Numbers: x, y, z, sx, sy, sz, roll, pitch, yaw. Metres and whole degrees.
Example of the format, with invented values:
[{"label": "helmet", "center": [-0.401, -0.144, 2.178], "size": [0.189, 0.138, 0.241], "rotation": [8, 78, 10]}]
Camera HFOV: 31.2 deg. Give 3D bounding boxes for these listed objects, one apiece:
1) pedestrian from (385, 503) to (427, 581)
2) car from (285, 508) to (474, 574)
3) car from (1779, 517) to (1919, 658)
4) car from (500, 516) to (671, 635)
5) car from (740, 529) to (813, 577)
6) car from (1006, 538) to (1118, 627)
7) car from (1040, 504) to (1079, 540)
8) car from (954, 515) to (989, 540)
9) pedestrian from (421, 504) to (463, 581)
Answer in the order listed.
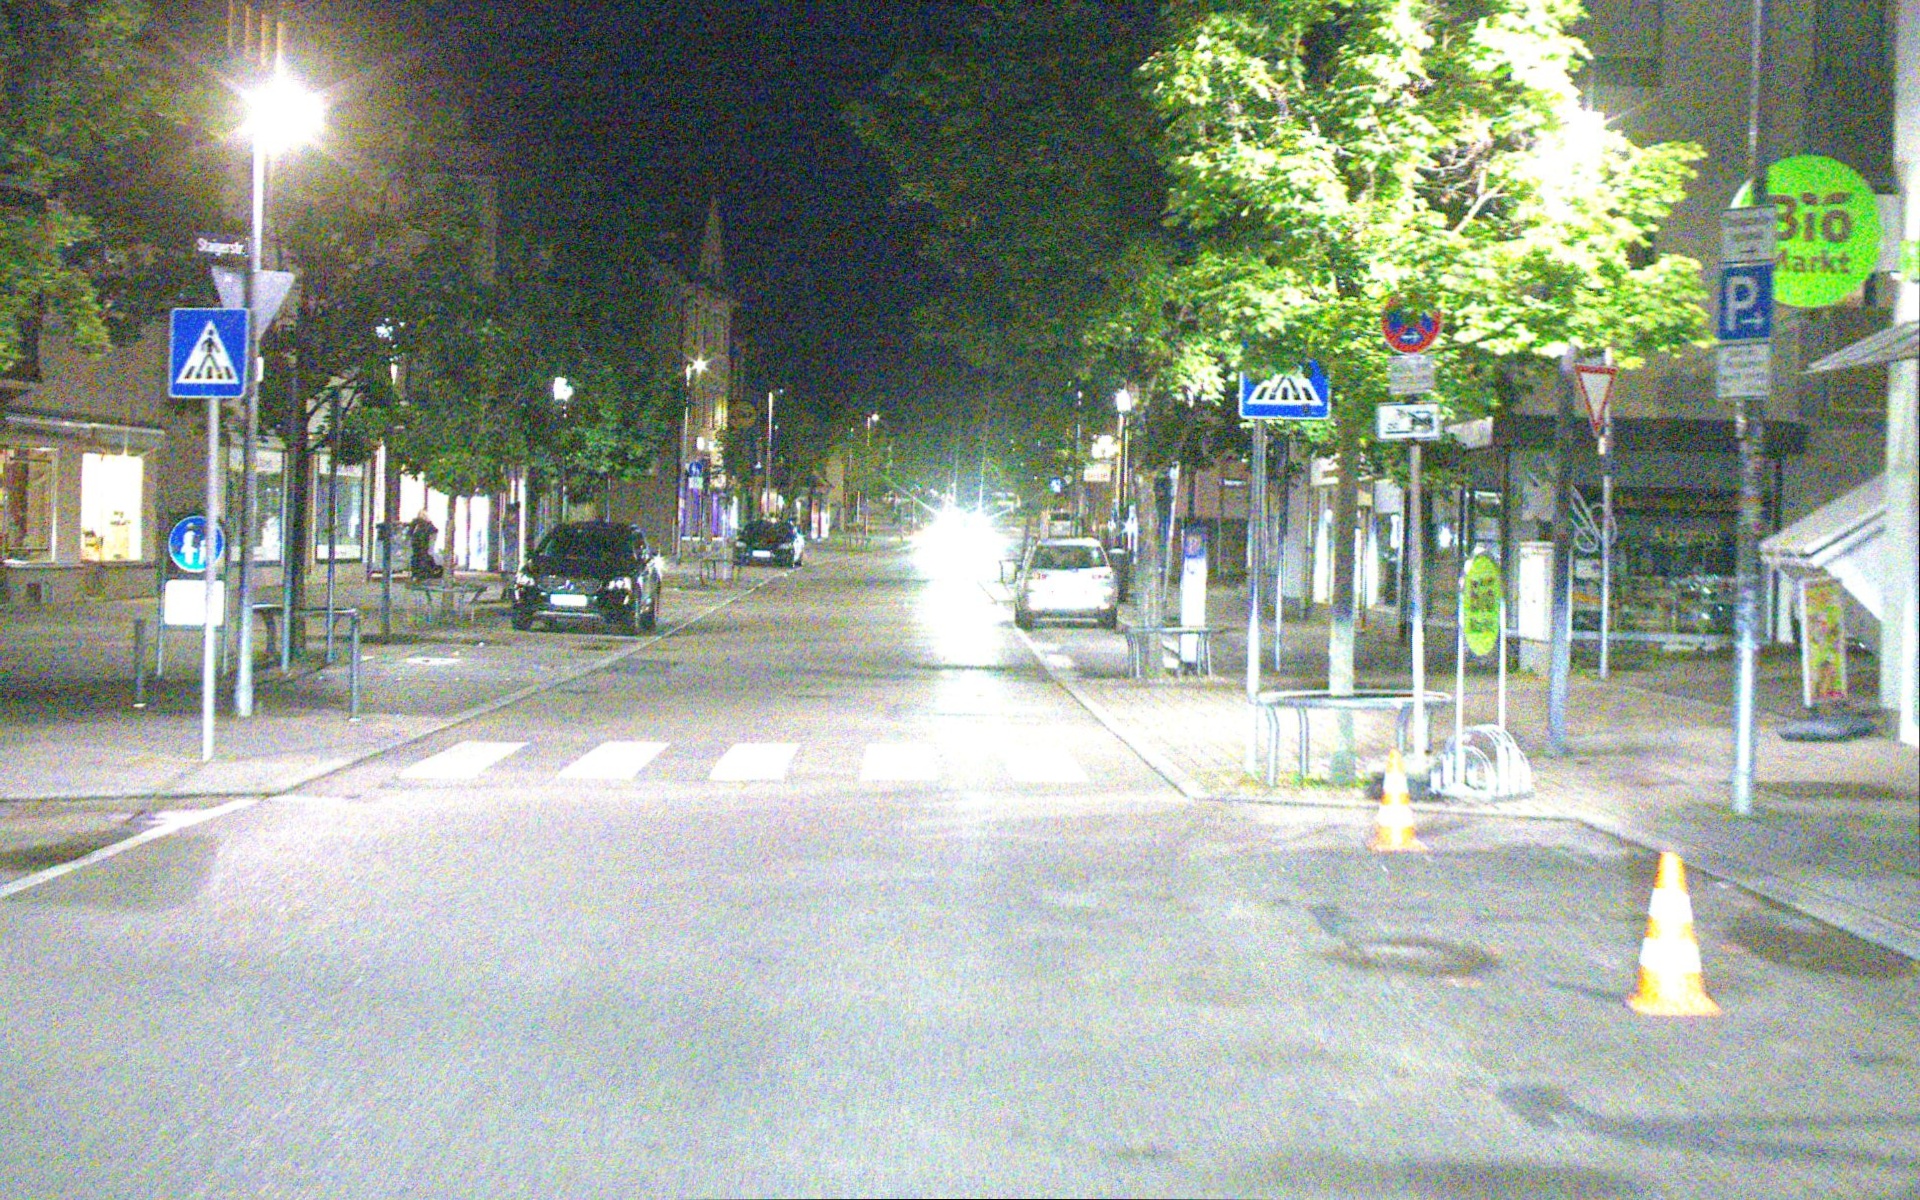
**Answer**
[{"label": "pedestrian", "center": [-12.050, -1.271, 74.787], "size": [0.769, 1.650, 0.817], "rotation": [1, 3, 1]}, {"label": "car", "center": [-14.126, -1.441, 83.788], "size": [4.167, 1.433, 1.841], "rotation": [-2, 1, 4]}, {"label": "car", "center": [10.549, -0.171, 38.100], "size": [1.804, 1.455, 4.057], "rotation": [-3, 0, -2]}, {"label": "car", "center": [-5.774, -0.421, 53.572], "size": [2.018, 1.685, 5.003], "rotation": [3, 1, 0]}, {"label": "car", "center": [-5.712, -1.476, 107.469], "size": [1.914, 1.366, 4.457], "rotation": [1, 2, 2]}, {"label": "car", "center": [1.729, -0.321, 59.169], "size": [1.674, 1.454, 3.676], "rotation": [1, 1, -2]}, {"label": "car", "center": [4.655, -3.657, 160.993], "size": [1.775, 1.646, 4.364], "rotation": [1, 2, 1]}, {"label": "car", "center": [0.629, -3.840, 181.917], "size": [1.723, 1.242, 4.237], "rotation": [1, 1, 1]}, {"label": "pedestrian", "center": [-11.264, -1.256, 74.765], "size": [0.769, 1.650, 0.782], "rotation": [1, 3, 1]}]
